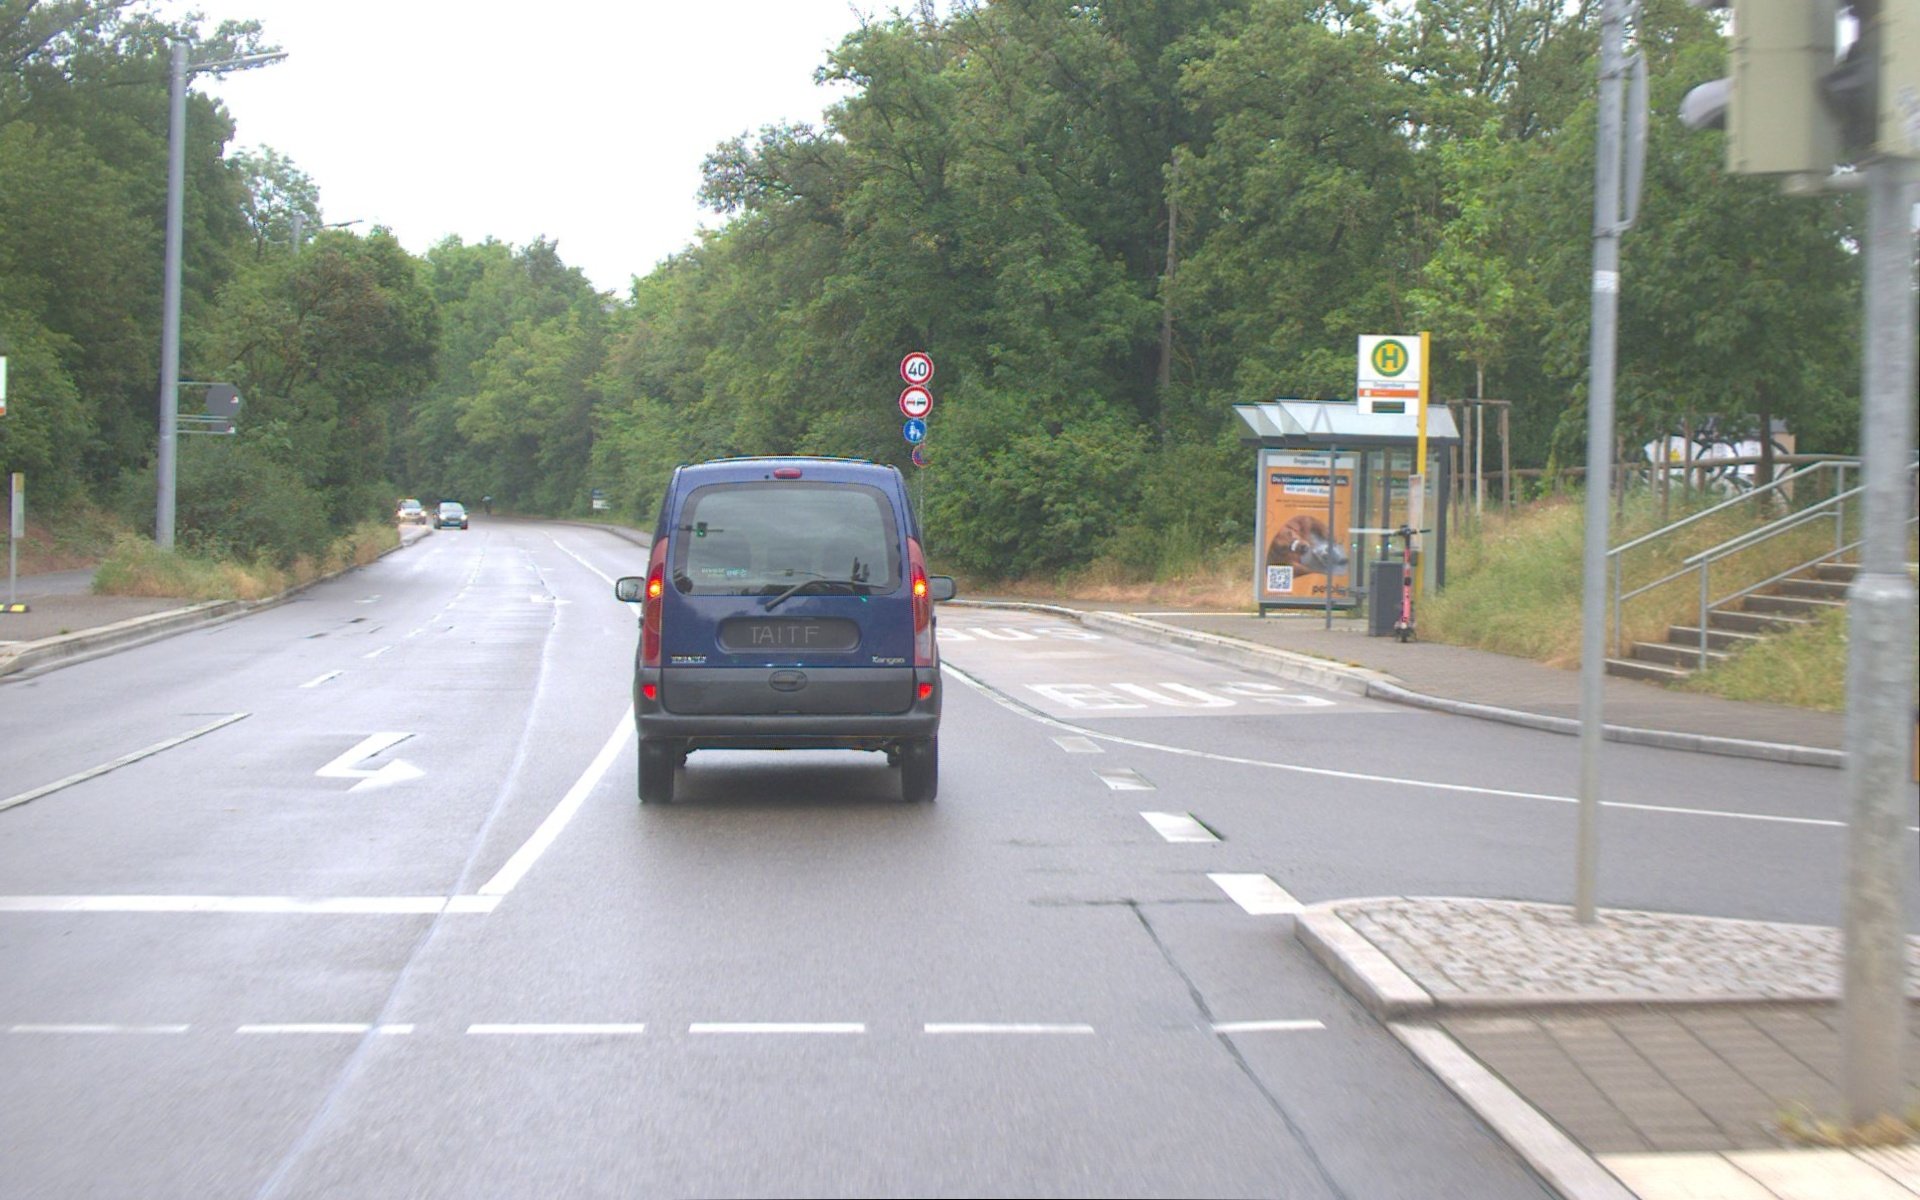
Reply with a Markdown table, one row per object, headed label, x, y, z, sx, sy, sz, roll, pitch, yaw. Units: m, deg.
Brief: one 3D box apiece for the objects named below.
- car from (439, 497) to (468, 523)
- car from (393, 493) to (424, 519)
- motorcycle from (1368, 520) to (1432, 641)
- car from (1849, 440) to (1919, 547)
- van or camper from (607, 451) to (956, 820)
| label | x | y | z | sx | sy | sz | roll | pitch | yaw |
| --- | --- | --- | --- | --- | --- | --- | --- | --- | --- |
| car | -28.287 | -5.022 | 191.995 | 1.598 | 1.436 | 3.992 | 0 | 2 | -8 |
| car | -34.503 | -5.884 | 215.149 | 1.771 | 1.605 | 4.085 | 1 | 2 | -7 |
| motorcycle | 4.823 | -0.230 | 37.609 | 0.589 | 1.284 | 1.537 | 1 | 1 | 11 |
| car | 15.094 | -1.574 | 52.420 | 1.885 | 1.475 | 4.782 | 3 | 1 | 2 |
| van or camper | -0.917 | 0.141 | 19.512 | 1.712 | 1.819 | 4.000 | 2 | 1 | 0 |
